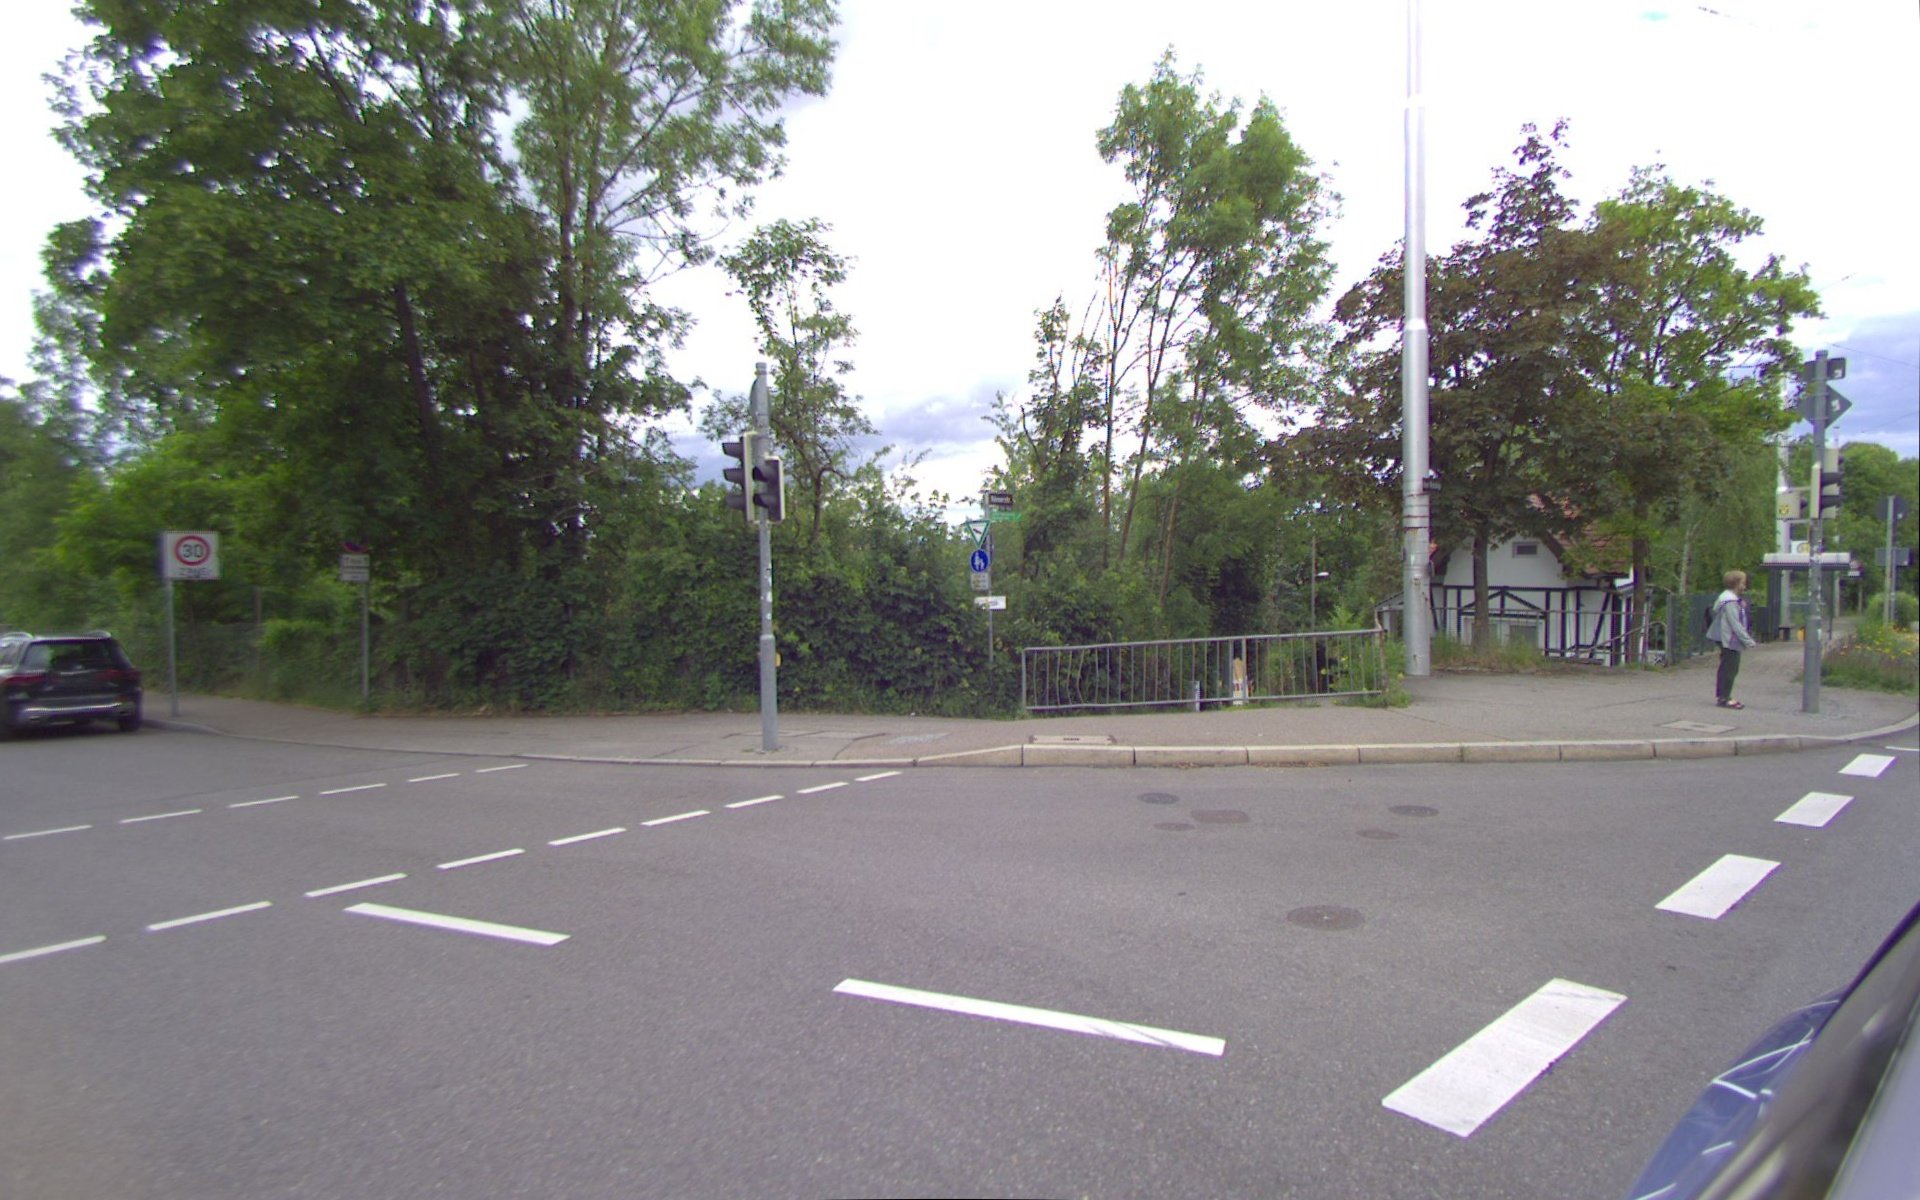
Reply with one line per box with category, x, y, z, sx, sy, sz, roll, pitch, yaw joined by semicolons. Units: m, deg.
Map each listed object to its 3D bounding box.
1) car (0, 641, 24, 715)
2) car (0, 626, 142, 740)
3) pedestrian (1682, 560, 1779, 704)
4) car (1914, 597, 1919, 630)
car;-21.292;1.664;21.359;3.757;1.473;1.608;-2;1;37
car;-15.455;1.316;17.004;4.242;1.640;1.724;-2;-1;37
pedestrian;9.454;0.370;12.440;0.609;1.709;0.694;1;2;7
car;44.558;0.606;45.816;1.801;1.410;4.220;2;2;41
